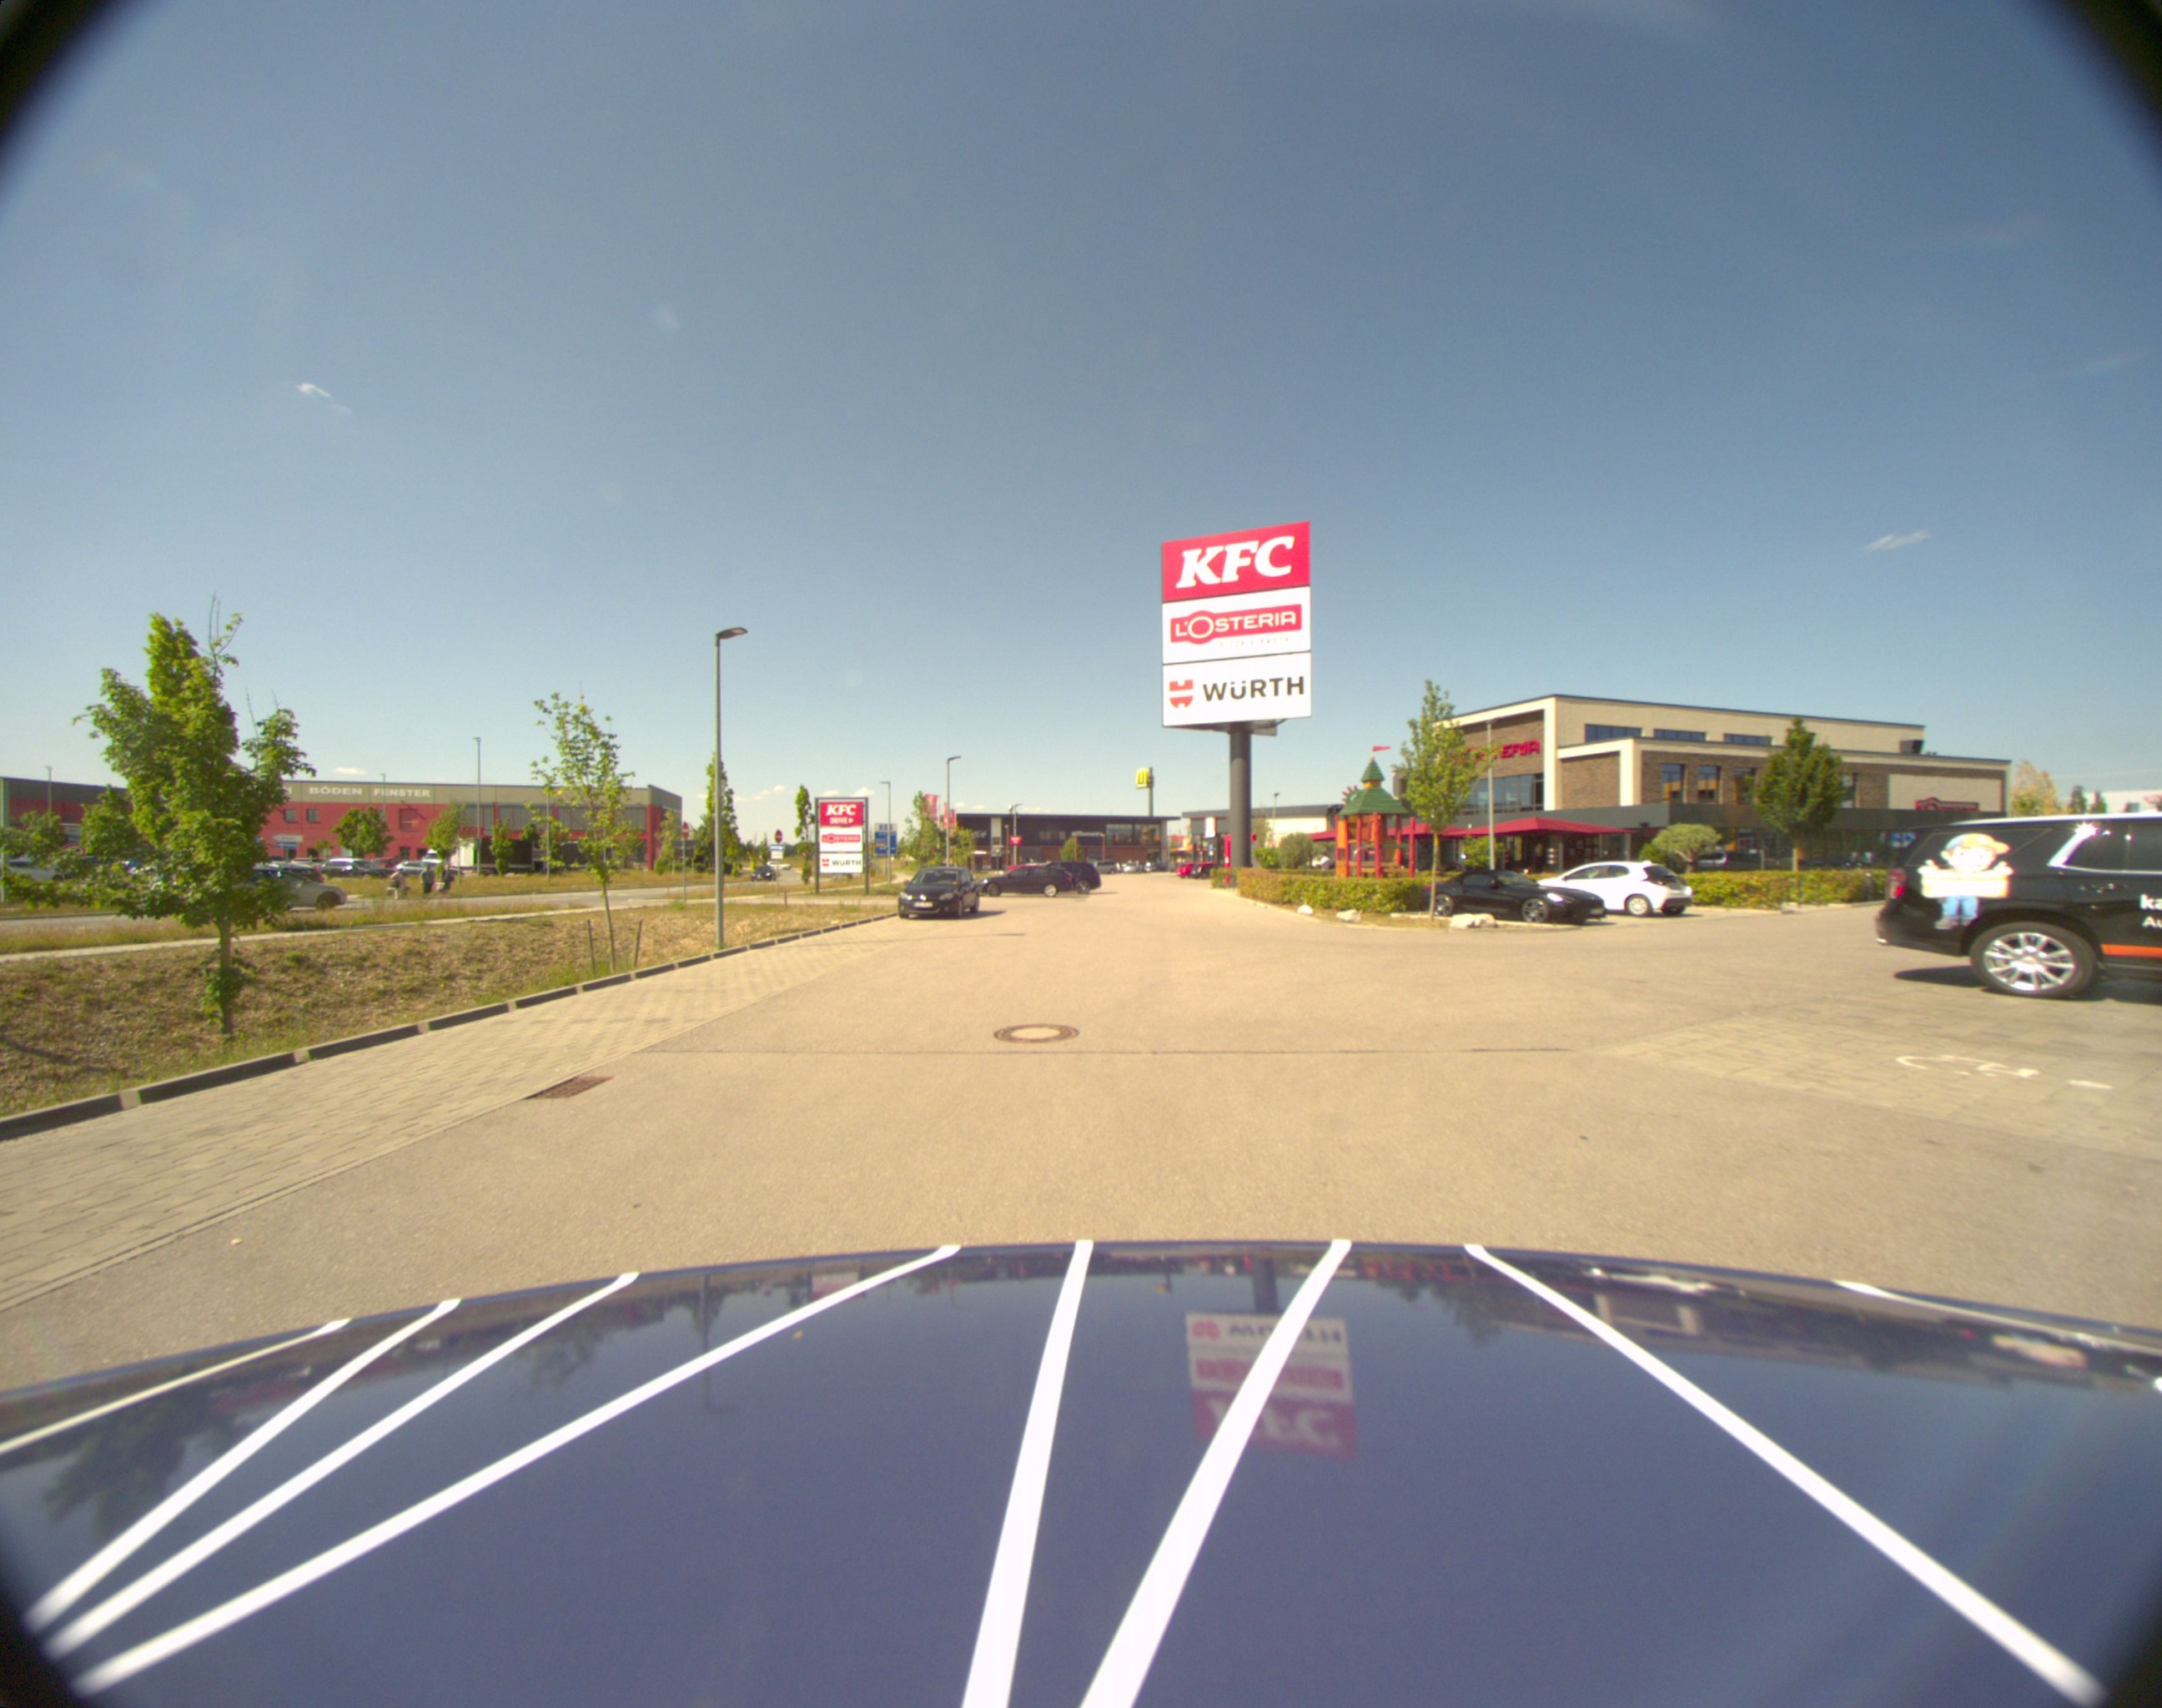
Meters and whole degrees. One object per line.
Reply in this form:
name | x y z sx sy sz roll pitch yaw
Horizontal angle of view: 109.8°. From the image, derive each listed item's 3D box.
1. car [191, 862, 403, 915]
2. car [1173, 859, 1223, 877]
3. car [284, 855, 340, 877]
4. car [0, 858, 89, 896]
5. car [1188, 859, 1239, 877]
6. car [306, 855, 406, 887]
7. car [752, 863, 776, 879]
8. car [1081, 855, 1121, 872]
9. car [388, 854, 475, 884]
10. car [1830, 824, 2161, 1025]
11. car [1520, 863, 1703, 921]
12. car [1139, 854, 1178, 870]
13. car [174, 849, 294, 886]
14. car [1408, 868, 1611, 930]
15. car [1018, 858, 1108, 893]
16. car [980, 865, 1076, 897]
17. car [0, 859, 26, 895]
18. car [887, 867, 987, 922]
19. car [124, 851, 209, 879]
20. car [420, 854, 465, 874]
car | -26.003 1.067 25.521 1.944 1.542 4.762 -1 0 5
car | 10.742 1.275 69.868 4.100 1.556 1.876 0 0 -18
car | -76.958 1.167 76.129 2.001 2.026 4.478 -1 0 -17
car | -59.929 1.280 43.185 2.001 2.026 4.478 -1 0 -17
car | 11.715 1.216 67.321 4.100 1.556 1.876 0 0 -18
car | -48.017 1.087 50.405 4.483 2.026 1.999 -1 0 -6
car | -31.007 1.653 74.284 1.830 1.532 3.994 0 0 -18
car | 2.424 1.154 92.525 4.488 2.002 1.997 -1 0 -18
car | -47.830 1.085 56.008 4.483 2.026 1.999 -1 0 -6
car | 11.396 0.674 7.484 2.034 1.927 5.368 0 0 -28
car | 14.957 1.005 21.651 1.806 1.466 3.906 0 0 -24
car | 9.969 1.032 97.550 4.488 2.002 1.997 -1 0 -18
car | -52.385 0.813 47.132 1.996 2.173 4.489 -1 0 13
car | 10.693 1.049 19.298 1.834 1.330 4.144 0 0 -30
car | -0.927 1.124 40.789 4.527 1.825 2.001 0 0 8
car | -2.517 1.276 36.675 4.531 1.450 2.000 0 0 -2
car | -62.655 1.324 42.439 2.001 2.026 4.478 -1 0 -17
car | -4.226 1.154 22.998 1.876 1.457 4.366 0 0 5
car | -70.151 0.797 58.423 2.001 2.026 4.478 -1 0 -17
car | -66.435 0.996 79.130 2.001 2.026 4.478 -1 0 -17
